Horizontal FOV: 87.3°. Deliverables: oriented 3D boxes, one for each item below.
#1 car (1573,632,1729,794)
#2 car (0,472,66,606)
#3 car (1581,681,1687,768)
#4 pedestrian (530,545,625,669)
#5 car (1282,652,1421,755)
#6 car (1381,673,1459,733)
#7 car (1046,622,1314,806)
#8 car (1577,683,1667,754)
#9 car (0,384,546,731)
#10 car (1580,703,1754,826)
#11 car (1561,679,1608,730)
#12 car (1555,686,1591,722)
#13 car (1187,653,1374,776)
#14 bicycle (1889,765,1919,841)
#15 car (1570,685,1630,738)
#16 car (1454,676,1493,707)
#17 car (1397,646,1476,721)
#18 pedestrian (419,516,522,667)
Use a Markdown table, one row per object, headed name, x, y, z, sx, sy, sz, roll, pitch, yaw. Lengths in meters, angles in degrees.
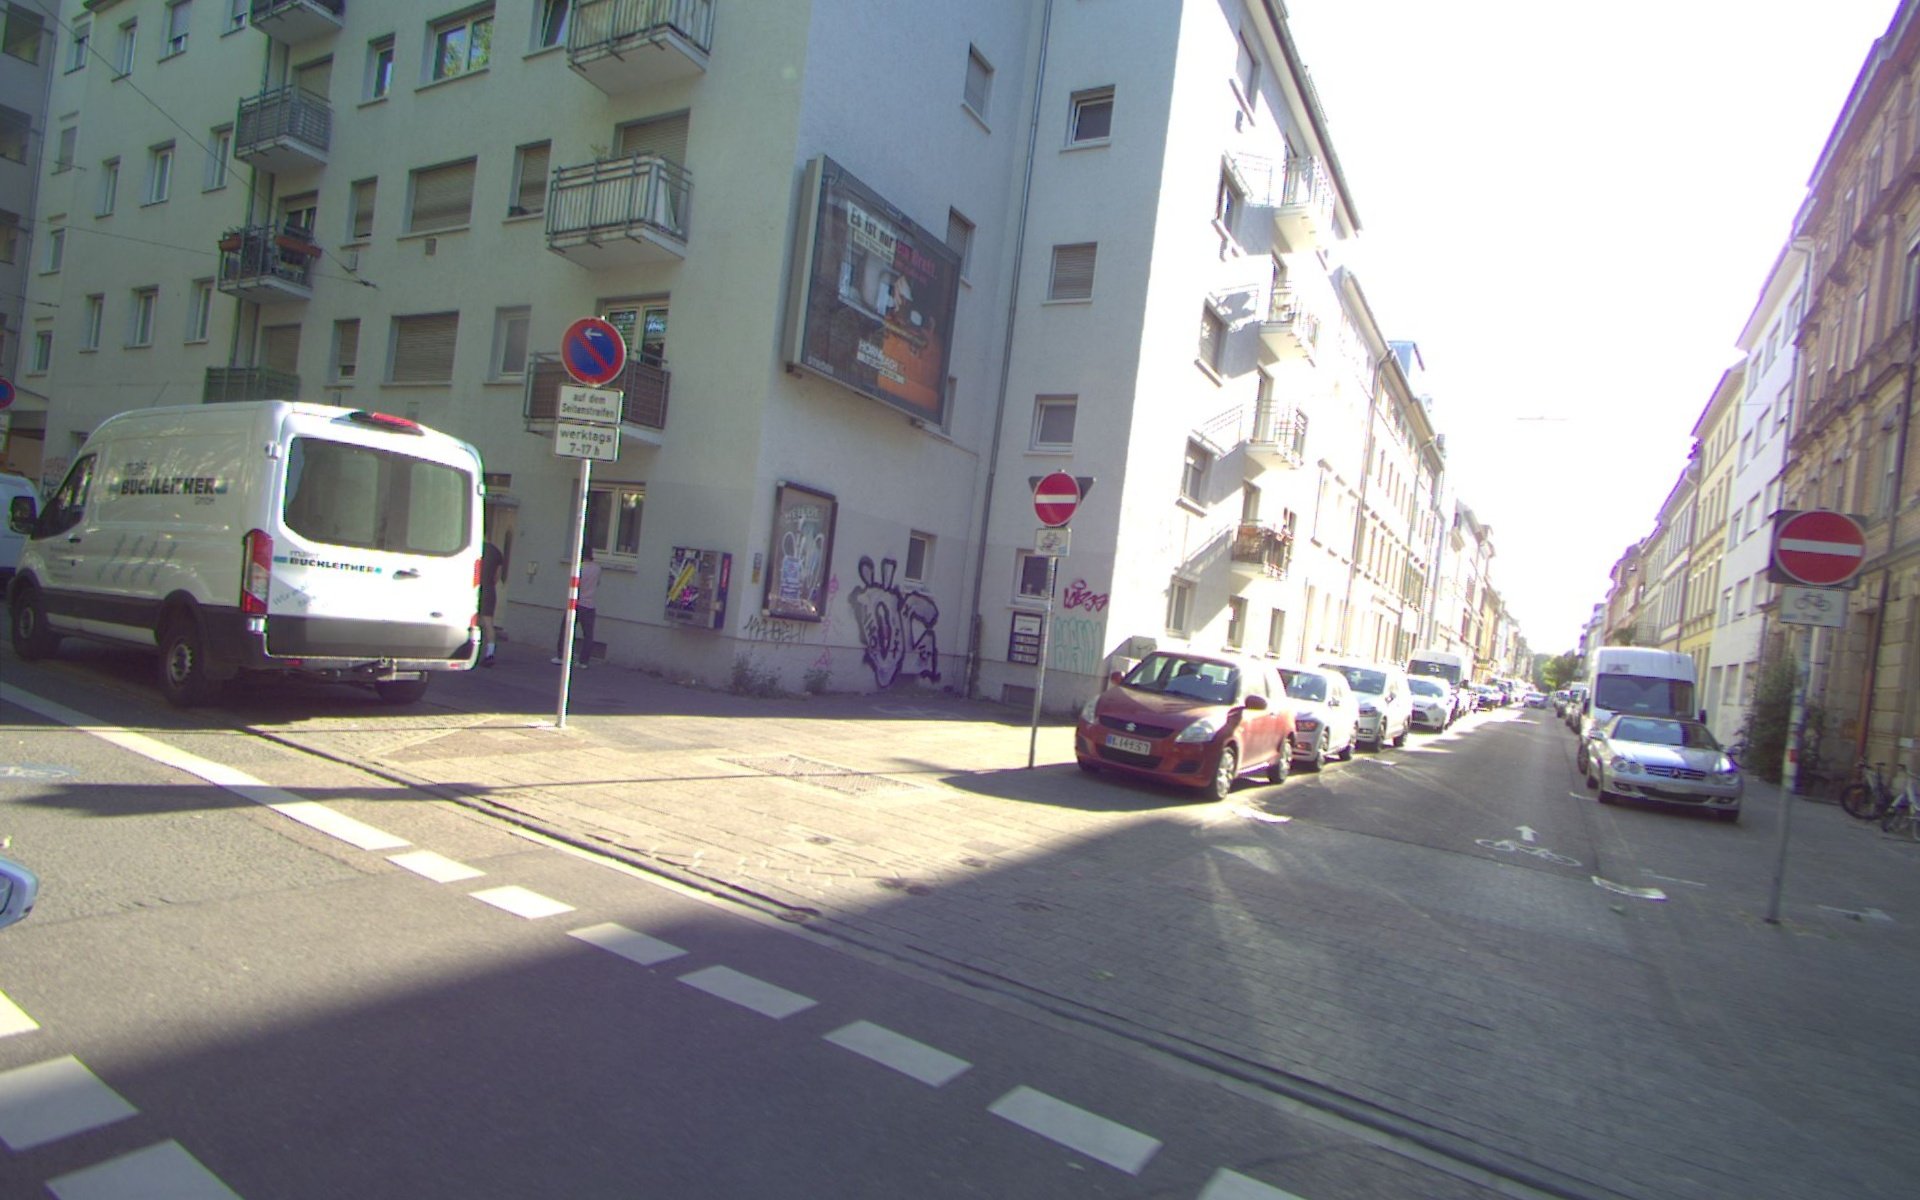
| name | x | y | z | sx | sy | sz | roll | pitch | yaw |
| --- | --- | --- | --- | --- | --- | --- | --- | --- | --- |
| car | 14.729 | 2.355 | 21.780 | 2.204 | 2.809 | 5.534 | 7 | -1 | 32 |
| car | -15.488 | -1.119 | 15.026 | 4.277 | 1.842 | 1.861 | 7 | 0 | 31 |
| car | 18.004 | 3.256 | 27.080 | 1.745 | 1.888 | 4.673 | 7 | -1 | 29 |
| pedestrian | -5.316 | 0.097 | 13.987 | 0.918 | 1.598 | 0.633 | 6 | -2 | 33 |
| car | 8.069 | 2.077 | 20.503 | 1.760 | 1.656 | 4.253 | 6 | -1 | 32 |
| car | 13.525 | 2.992 | 29.455 | 1.634 | 1.423 | 4.146 | 7 | -1 | 29 |
| car | 2.715 | 1.272 | 11.769 | 1.761 | 1.593 | 3.655 | 8 | -1 | 32 |
| car | 20.927 | 3.690 | 31.962 | 1.966 | 1.815 | 3.830 | 7 | -1 | 30 |
| car | -6.986 | -0.504 | 9.746 | 5.986 | 2.525 | 2.152 | 6 | -1 | 31 |
| car | 11.072 | 2.491 | 16.022 | 1.672 | 1.394 | 3.995 | 7 | -1 | 29 |
| car | 32.619 | 5.426 | 52.653 | 1.688 | 2.298 | 4.191 | 7 | 0 | 30 |
| car | 40.476 | 6.820 | 66.496 | 1.688 | 2.078 | 4.192 | 7 | 0 | 30 |
| car | 5.181 | 1.737 | 15.892 | 1.760 | 1.473 | 4.030 | 6 | -1 | 32 |
| bicycle | 14.006 | 2.962 | 14.620 | 0.373 | 0.973 | 1.370 | 7 | 0 | 31 |
| car | 26.238 | 4.535 | 41.329 | 1.688 | 1.815 | 4.192 | 7 | -1 | 30 |
| car | 30.992 | 5.512 | 60.637 | 1.731 | 1.548 | 3.994 | 7 | -1 | 30 |
| car | 18.463 | 3.208 | 38.795 | 2.111 | 2.427 | 5.641 | 7 | -1 | 30 |
| pedestrian | -6.389 | -0.112 | 13.125 | 1.064 | 1.846 | 0.625 | 6 | 1 | 33 |
